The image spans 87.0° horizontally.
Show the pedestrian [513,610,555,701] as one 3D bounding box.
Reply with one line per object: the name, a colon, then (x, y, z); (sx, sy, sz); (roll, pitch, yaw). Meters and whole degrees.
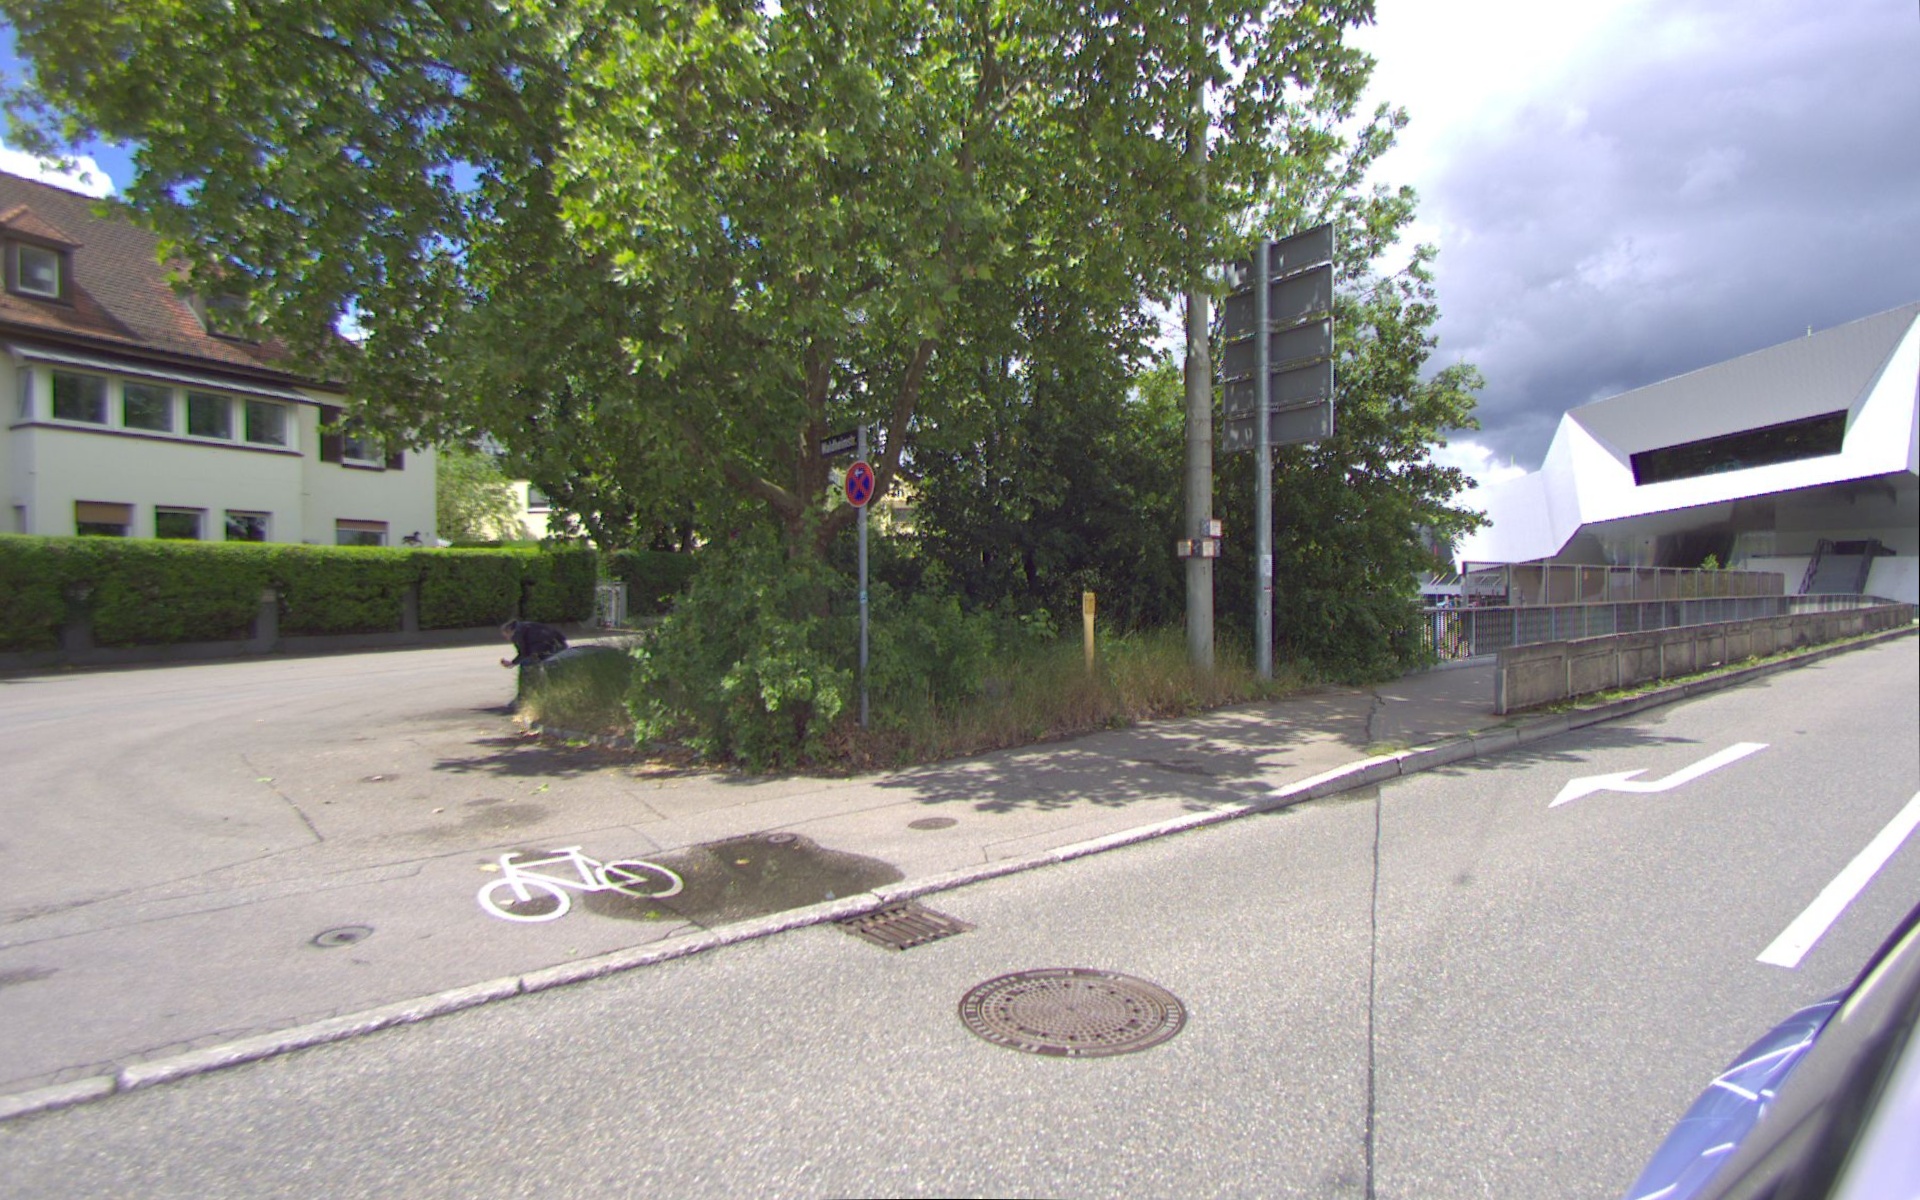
pedestrian: (-6.092, 0.786, 14.480); (0.506, 1.262, 0.569); (2, 0, -22)
